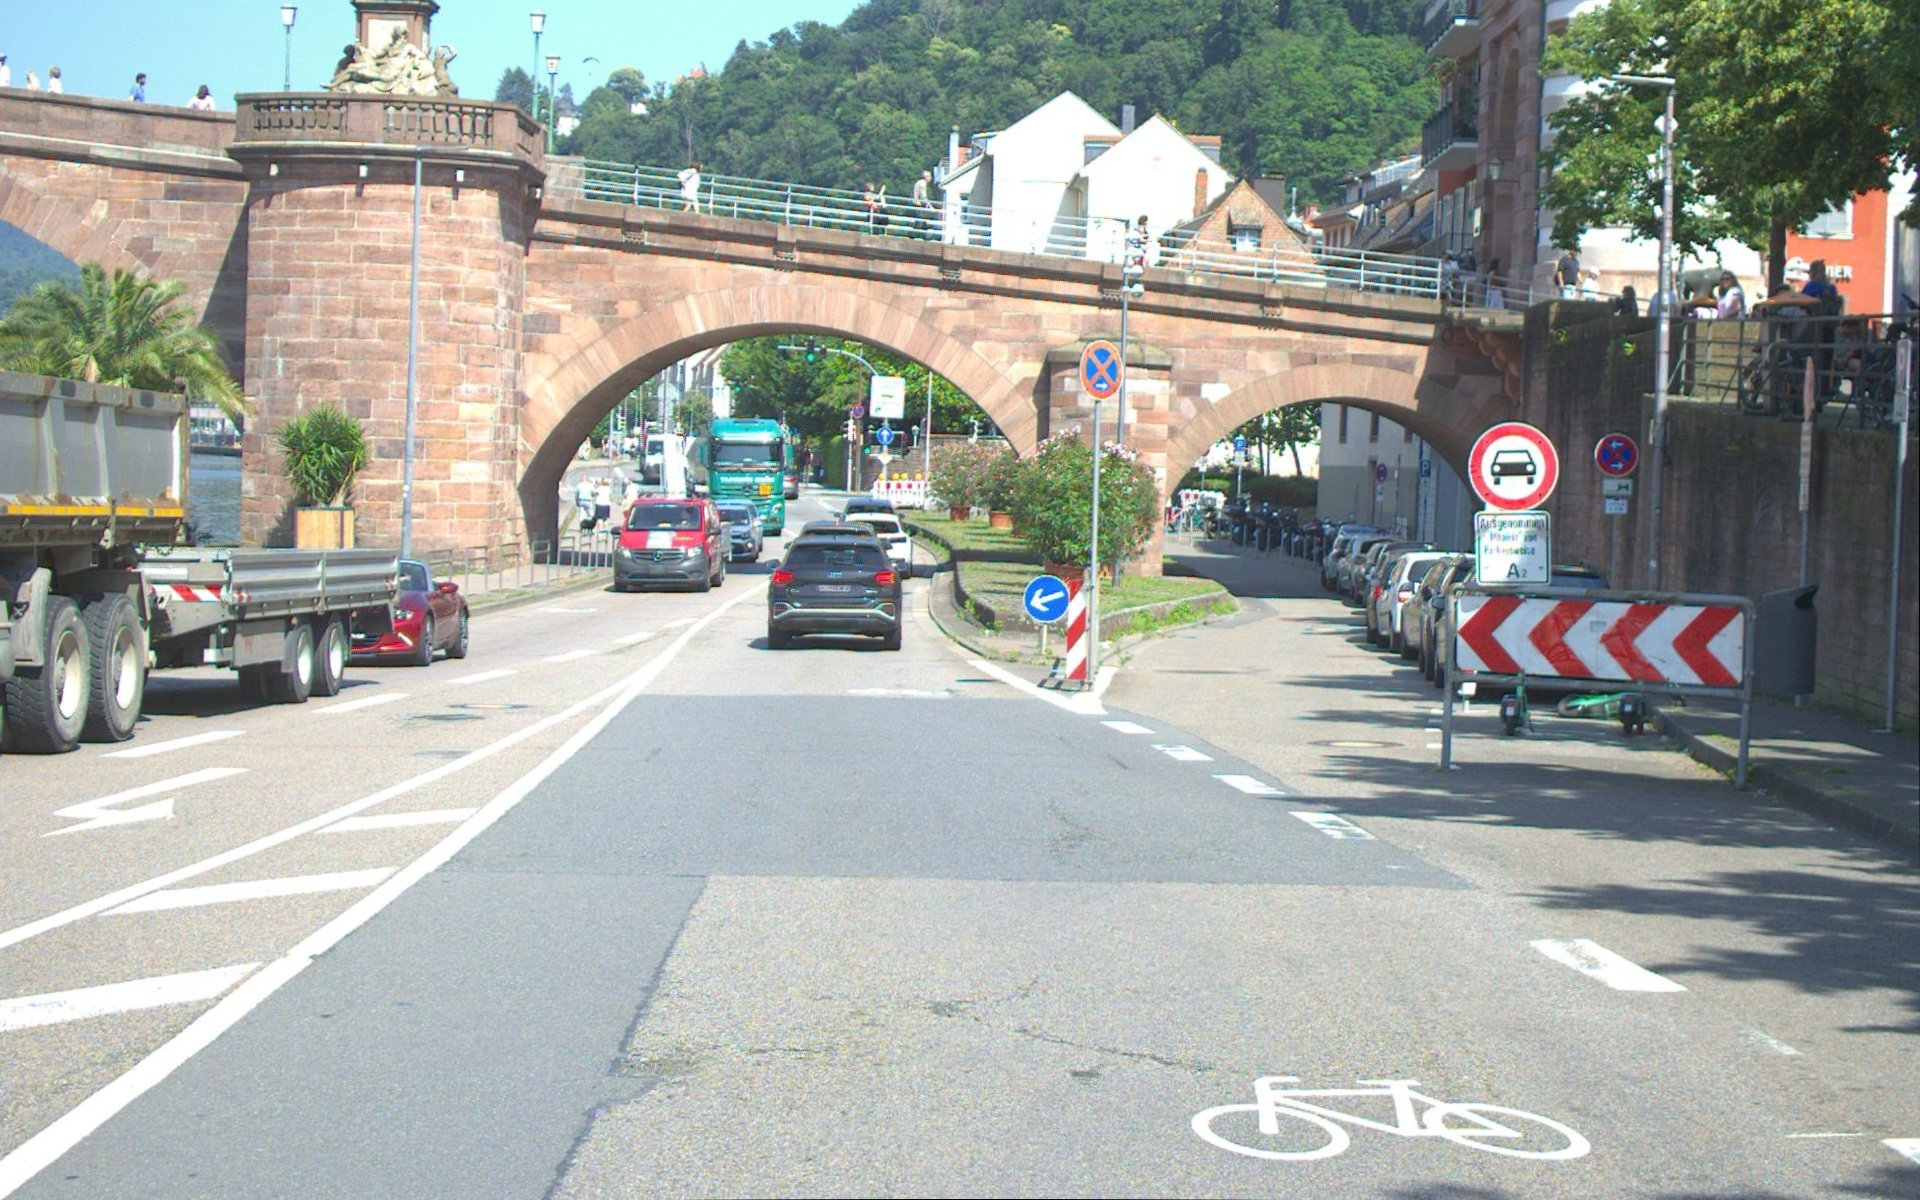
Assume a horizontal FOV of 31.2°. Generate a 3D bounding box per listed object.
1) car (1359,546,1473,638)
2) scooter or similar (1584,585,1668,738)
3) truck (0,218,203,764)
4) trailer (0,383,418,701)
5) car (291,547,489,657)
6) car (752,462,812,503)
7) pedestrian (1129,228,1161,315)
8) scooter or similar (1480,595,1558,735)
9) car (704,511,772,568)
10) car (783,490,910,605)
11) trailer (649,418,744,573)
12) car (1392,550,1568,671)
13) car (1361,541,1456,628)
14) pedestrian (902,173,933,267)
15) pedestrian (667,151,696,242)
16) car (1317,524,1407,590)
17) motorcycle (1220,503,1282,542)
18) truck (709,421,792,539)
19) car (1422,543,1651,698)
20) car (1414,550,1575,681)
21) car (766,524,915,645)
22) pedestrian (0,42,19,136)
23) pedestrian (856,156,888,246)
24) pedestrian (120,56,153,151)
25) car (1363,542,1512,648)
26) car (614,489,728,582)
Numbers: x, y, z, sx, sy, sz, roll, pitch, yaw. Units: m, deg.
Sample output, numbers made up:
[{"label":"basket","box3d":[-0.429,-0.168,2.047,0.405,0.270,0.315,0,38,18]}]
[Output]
[{"label":"car","box3d":[7.317,-0.160,54.991,1.711,1.383,4.406,1,1,8]},{"label":"scooter or similar","box3d":[5.554,0.497,28.641,0.532,1.226,1.270,1,1,17]},{"label":"truck","box3d":[-7.344,-0.703,22.562,2.642,3.445,7.871,0,1,3]},{"label":"trailer","box3d":[-6.908,-0.511,30.766,2.698,2.522,6.947,0,1,3]},{"label":"car","box3d":[-6.562,-0.001,39.903,1.671,1.190,3.629,0,1,0]},{"label":"car","box3d":[-7.459,-4.921,144.049,1.855,1.656,4.001,0,2,-13]},{"label":"pedestrian","box3d":[4.380,-7.765,81.240,0.684,2.007,0.586,1,1,0]},{"label":"scooter or similar","box3d":[4.587,0.518,28.185,0.532,1.086,1.438,1,1,12]},{"label":"car","box3d":[-5.807,-1.608,90.198,1.534,1.432,3.728,0,2,0]},{"label":"car","box3d":[-2.052,-0.985,63.141,1.994,2.007,4.000,1,1,2]},{"label":"trailer","box3d":[-5.748,-2.283,75.317,1.742,3.309,3.384,0,2,1]},{"label":"car","box3d":[6.871,0.099,45.855,1.754,1.427,4.756,2,1,2]},{"label":"car","box3d":[8.436,-0.317,64.470,1.591,1.515,3.902,2,2,9]},{"label":"pedestrian","box3d":[-0.940,-8.417,76.249,0.623,2.007,0.695,1,1,1]},{"label":"pedestrian","box3d":[-6.410,-9.282,79.117,0.581,2.007,0.586,1,1,0]},{"label":"car","box3d":[9.995,-1.101,85.772,1.893,1.487,4.417,1,2,3]},{"label":"motorcycle","box3d":[9.698,-2.590,114.541,2.191,1.262,0.628,-1,3,-38]},{"label":"truck","box3d":[-6.836,-3.979,112.728,2.523,3.735,6.247,0,3,-2]},{"label":"car","box3d":[5.990,0.162,36.168,1.843,1.445,4.534,2,1,3]},{"label":"car","box3d":[6.351,0.148,41.150,1.612,1.408,3.903,2,1,5]},{"label":"car","box3d":[-1.580,-0.240,46.754,1.857,1.518,4.000,1,2,0]},{"label":"pedestrian","box3d":[-21.408,-11.420,76.790,0.623,2.007,0.695,1,1,-7]},{"label":"pedestrian","box3d":[-2.036,-9.201,79.267,0.684,2.007,0.586,1,1,0]},{"label":"pedestrian","box3d":[-18.328,-11.043,76.520,0.623,2.007,0.695,1,1,-7]},{"label":"car","box3d":[7.041,-0.101,50.980,1.711,1.452,3.548,2,1,1]},{"label":"car","box3d":[-5.832,-1.339,69.864,1.874,1.821,4.544,0,2,1]}]
